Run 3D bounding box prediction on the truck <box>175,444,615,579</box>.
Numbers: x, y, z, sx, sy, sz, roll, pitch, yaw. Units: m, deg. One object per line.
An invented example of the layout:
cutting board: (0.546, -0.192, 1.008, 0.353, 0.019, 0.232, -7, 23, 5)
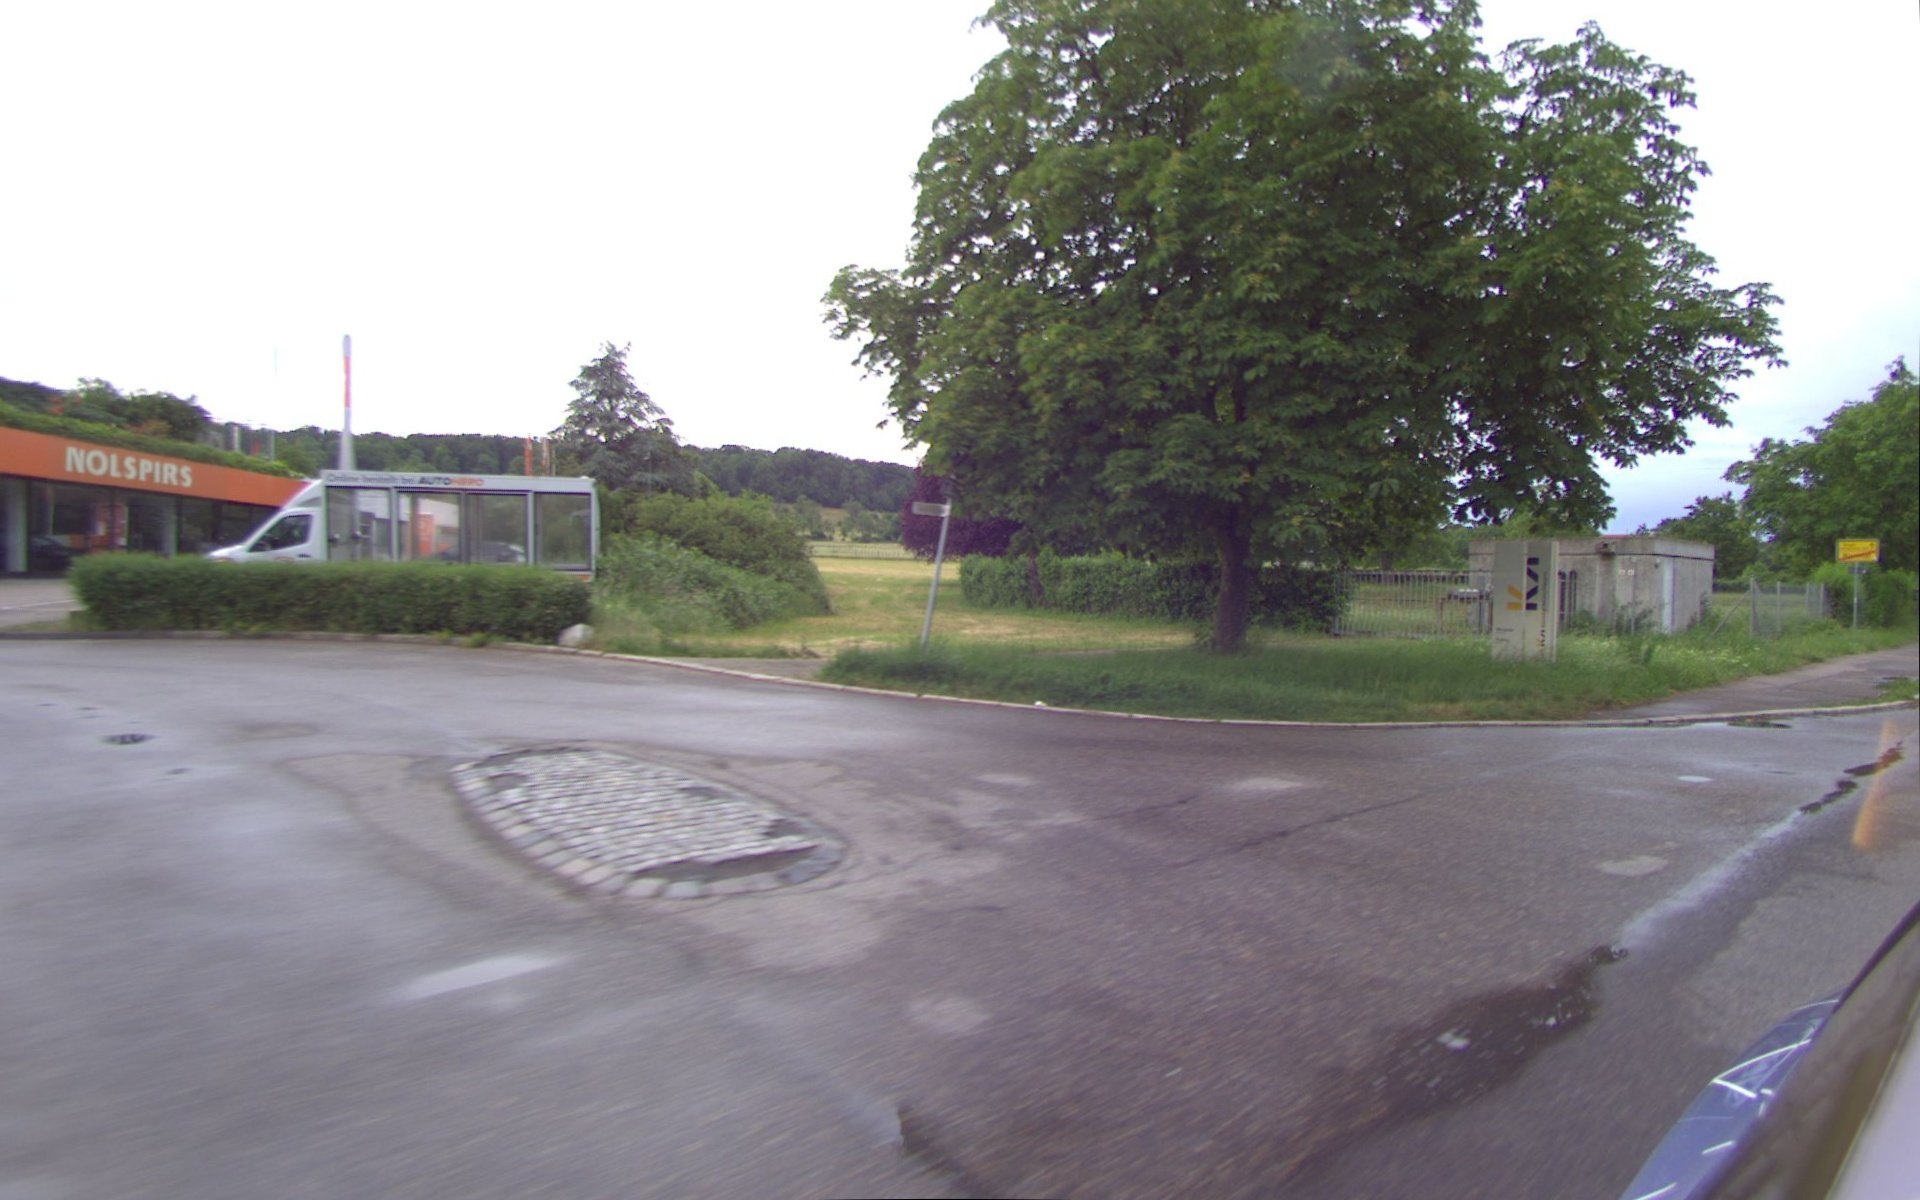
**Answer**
truck: (-12.240, -1.859, 22.914, 8.297, 2.656, 2.794, -1, 0, -17)
